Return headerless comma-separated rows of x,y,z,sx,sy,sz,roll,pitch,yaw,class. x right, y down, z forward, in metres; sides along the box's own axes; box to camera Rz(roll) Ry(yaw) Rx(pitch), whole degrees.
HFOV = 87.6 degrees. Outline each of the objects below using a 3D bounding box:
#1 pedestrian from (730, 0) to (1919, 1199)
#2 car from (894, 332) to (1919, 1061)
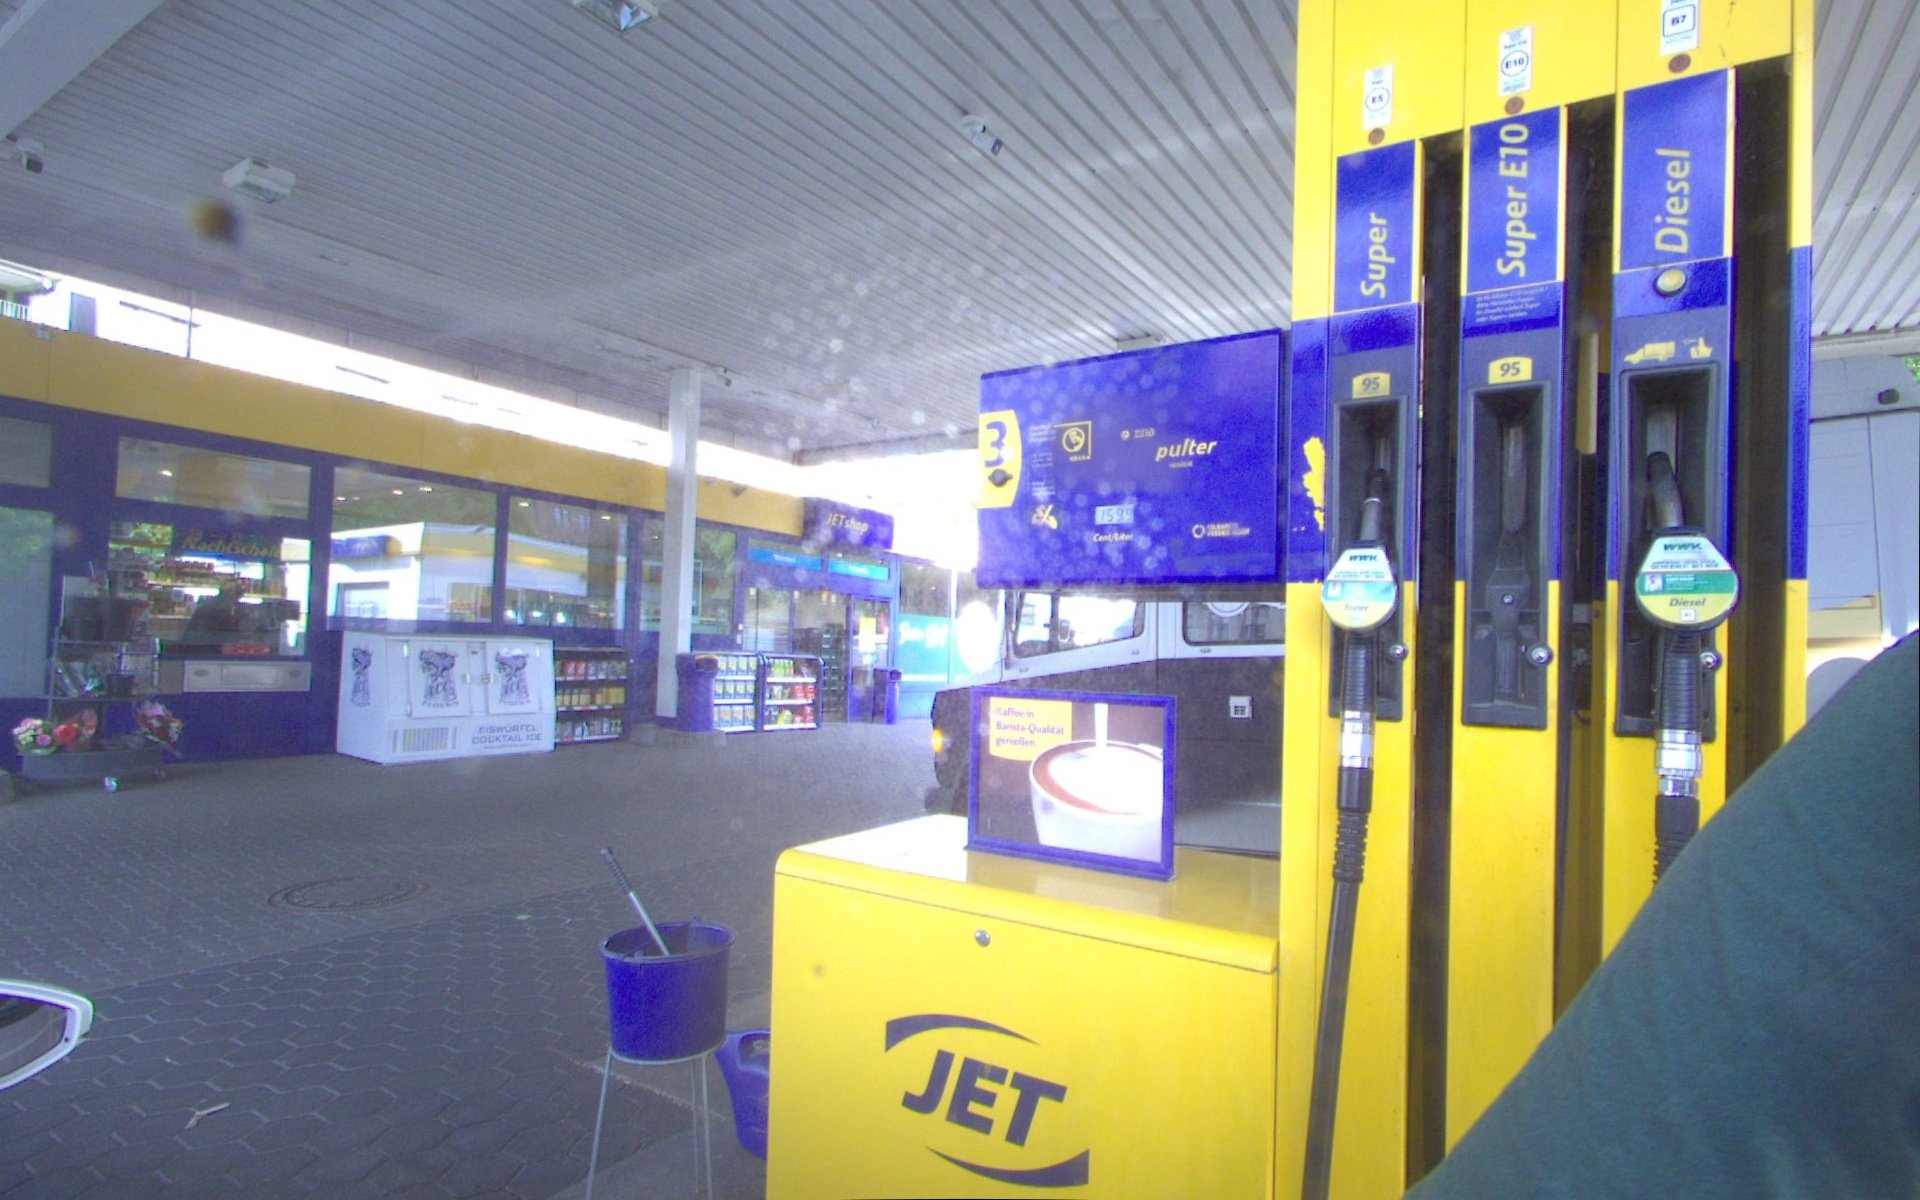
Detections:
0.675,0.560,0.445,1.167,1.750,0.988,-2,-2,35,pedestrian
2.367,0.441,5.998,5.271,2.759,2.193,-1,-3,34,car
